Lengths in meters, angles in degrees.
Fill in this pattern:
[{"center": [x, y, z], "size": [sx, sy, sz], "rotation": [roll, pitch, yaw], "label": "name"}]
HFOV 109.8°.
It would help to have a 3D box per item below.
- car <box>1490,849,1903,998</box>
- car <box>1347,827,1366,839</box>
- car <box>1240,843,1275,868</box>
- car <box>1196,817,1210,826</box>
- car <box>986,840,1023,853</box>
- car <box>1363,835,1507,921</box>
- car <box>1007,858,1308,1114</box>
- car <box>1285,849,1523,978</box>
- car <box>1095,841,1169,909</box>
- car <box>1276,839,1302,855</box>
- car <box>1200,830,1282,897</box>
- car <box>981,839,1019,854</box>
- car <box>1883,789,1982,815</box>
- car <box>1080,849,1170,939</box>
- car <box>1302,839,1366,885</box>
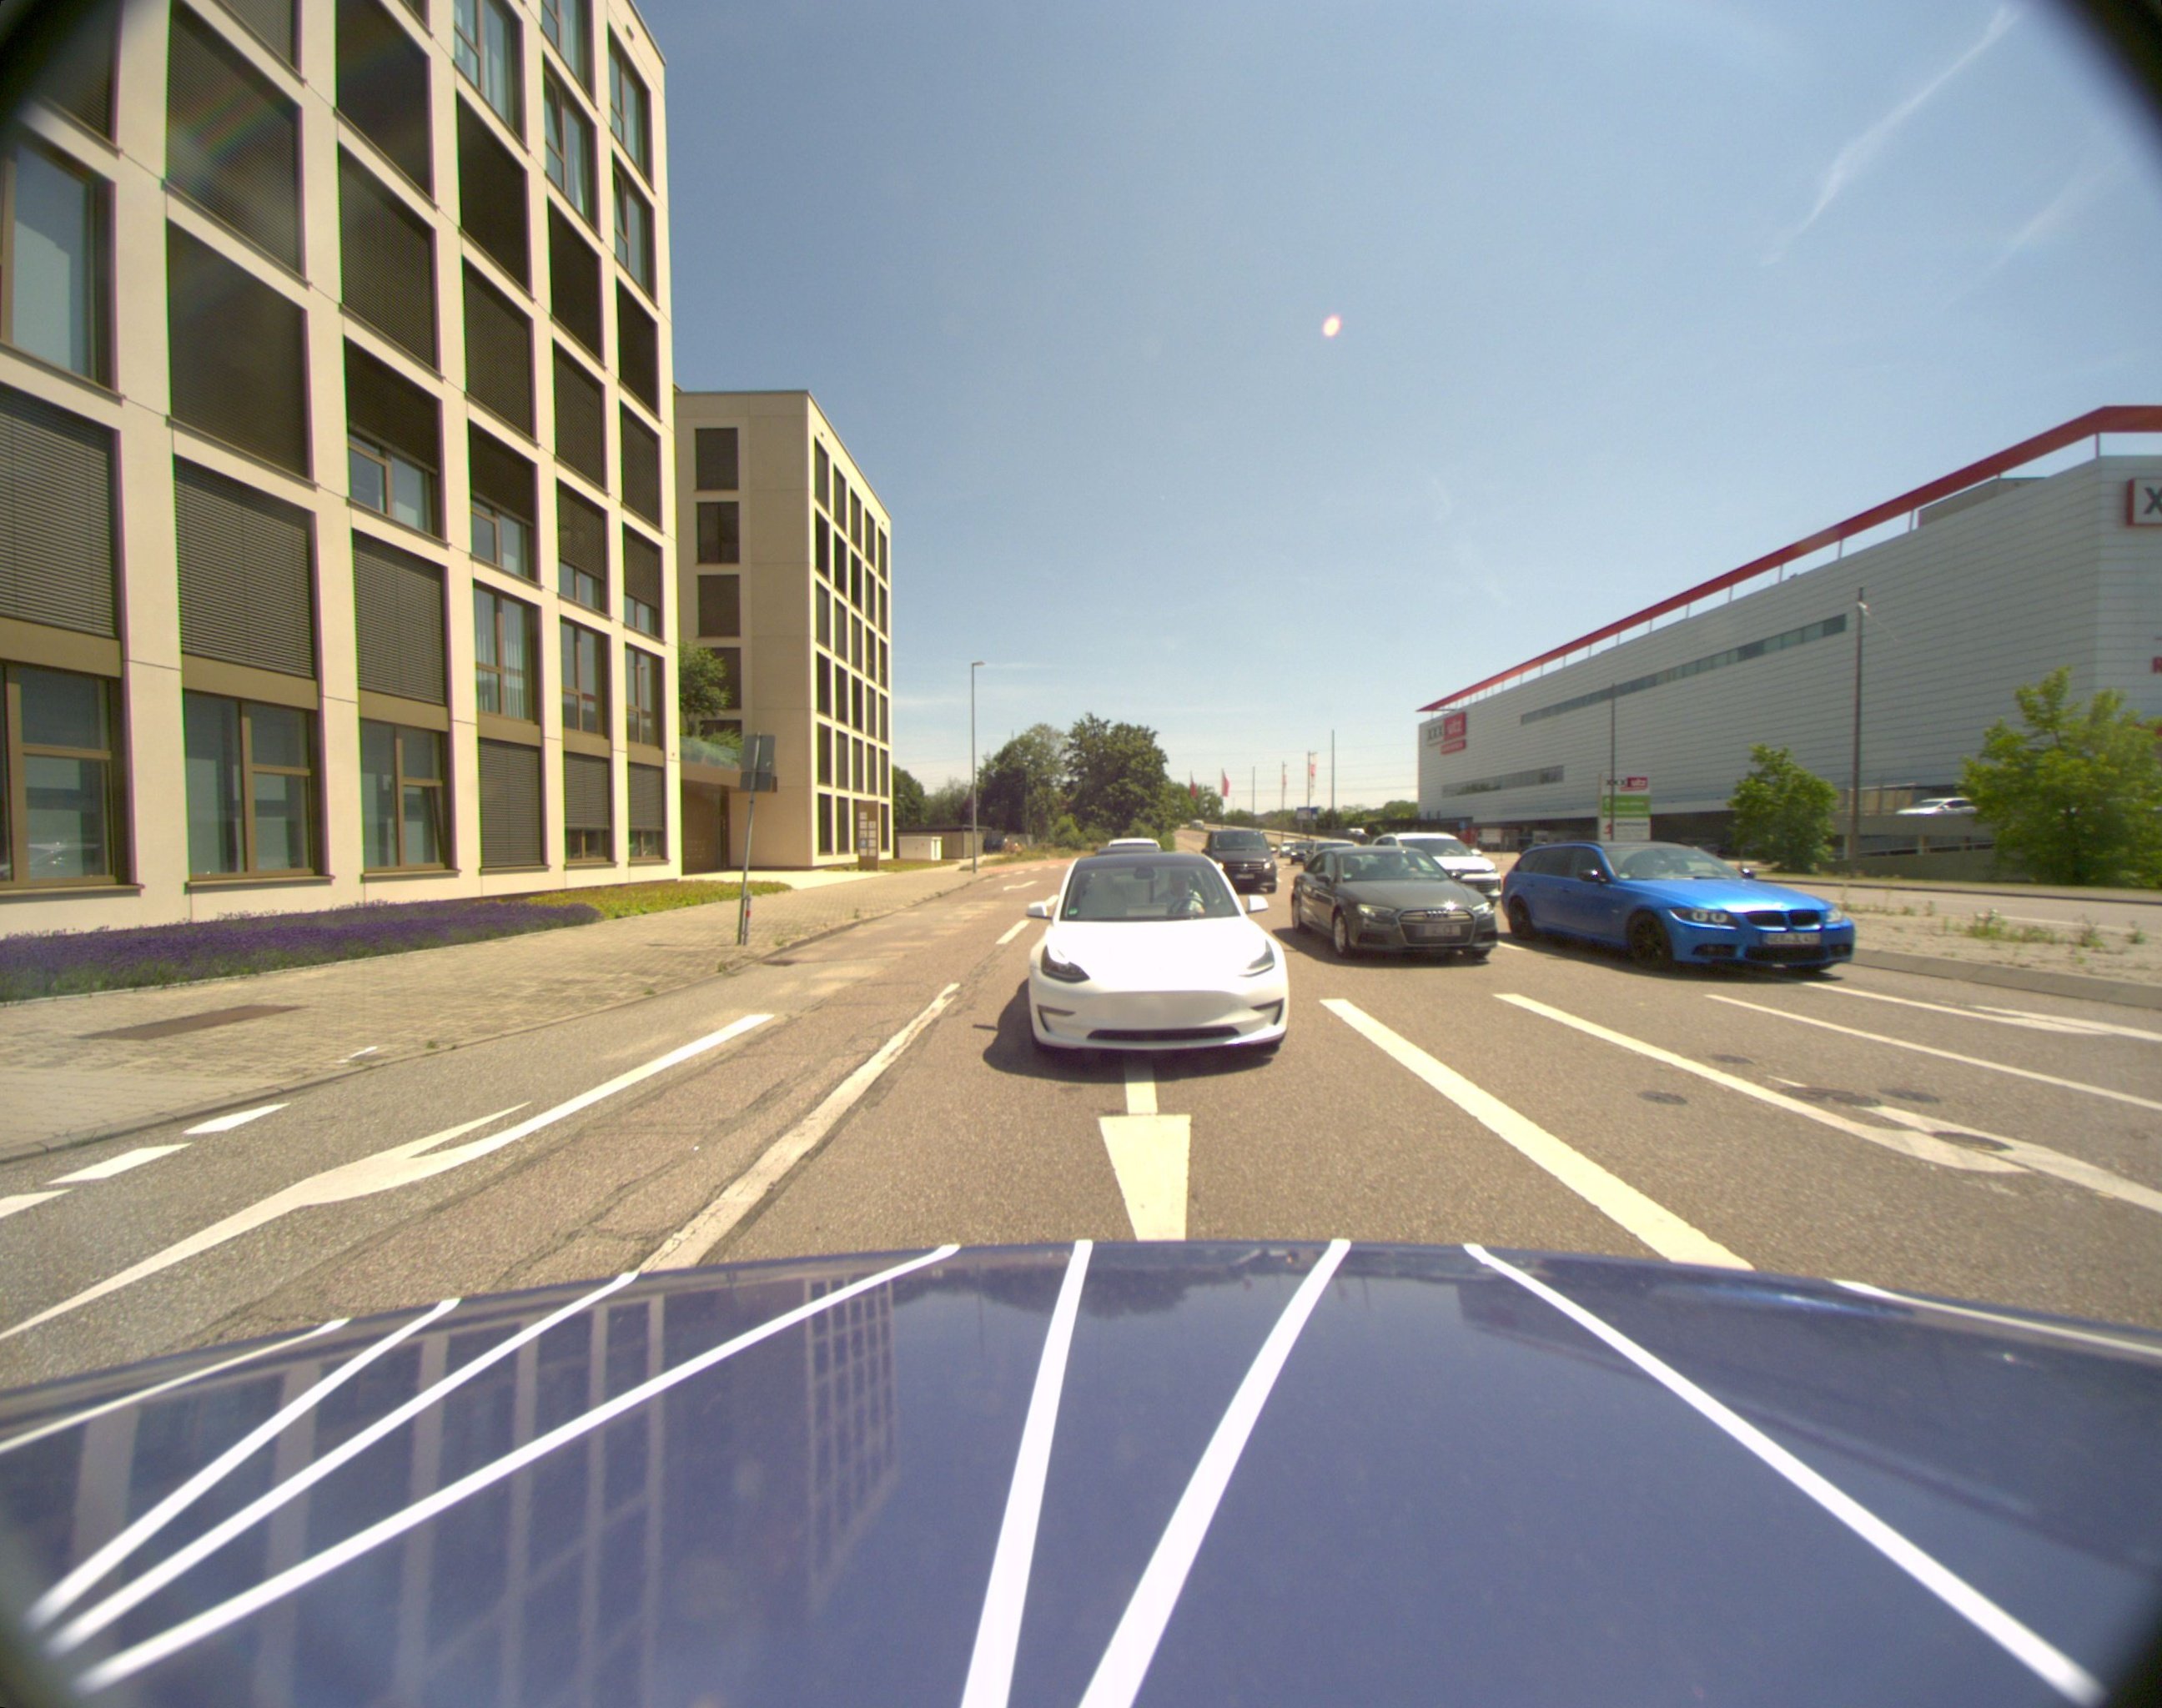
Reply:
[{"center": [7.031, 0.654, 9.441], "size": [1.769, 1.395, 4.432], "rotation": [-1, 1, 4], "label": "car"}, {"center": [53.414, -3.973, 147.579], "size": [2.191, 2.270, 4.814], "rotation": [0, 1, 4], "label": "car"}, {"center": [10.515, 0.055, 45.033], "size": [1.605, 1.431, 3.738], "rotation": [0, 1, 20], "label": "car"}, {"center": [24.270, -6.489, 151.357], "size": [1.868, 1.713, 4.039], "rotation": [0, 1, -6], "label": "car"}, {"center": [-8.366, -0.784, 82.929], "size": [3.834, 1.386, 1.736], "rotation": [0, 1, -13], "label": "car"}, {"center": [7.697, 0.425, 16.993], "size": [1.768, 1.632, 4.494], "rotation": [-2, 1, 10], "label": "car"}, {"center": [0.521, 0.838, 6.865], "size": [1.823, 1.428, 4.283], "rotation": [-2, 1, 1], "label": "car"}, {"center": [4.128, 0.657, 10.480], "size": [1.769, 1.374, 4.090], "rotation": [-1, 1, 4], "label": "car"}, {"center": [1.402, 0.477, 20.342], "size": [1.777, 1.600, 3.821], "rotation": [0, 2, 5], "label": "car"}, {"center": [19.717, -0.703, 72.118], "size": [1.725, 1.464, 4.001], "rotation": [0, 1, 6], "label": "car"}, {"center": [4.746, 0.204, 23.192], "size": [1.895, 1.811, 4.837], "rotation": [-1, 1, 6], "label": "car"}, {"center": [-8.662, -0.809, 80.871], "size": [3.834, 1.543, 1.736], "rotation": [0, 1, -13], "label": "car"}, {"center": [51.871, -3.163, 46.341], "size": [3.996, 1.499, 1.717], "rotation": [0, 1, 3], "label": "car"}, {"center": [0.932, 0.683, 15.116], "size": [1.556, 1.528, 3.821], "rotation": [0, 1, 5], "label": "car"}, {"center": [8.688, 0.233, 26.354], "size": [1.767, 1.414, 3.903], "rotation": [-2, 1, 14], "label": "car"}]
